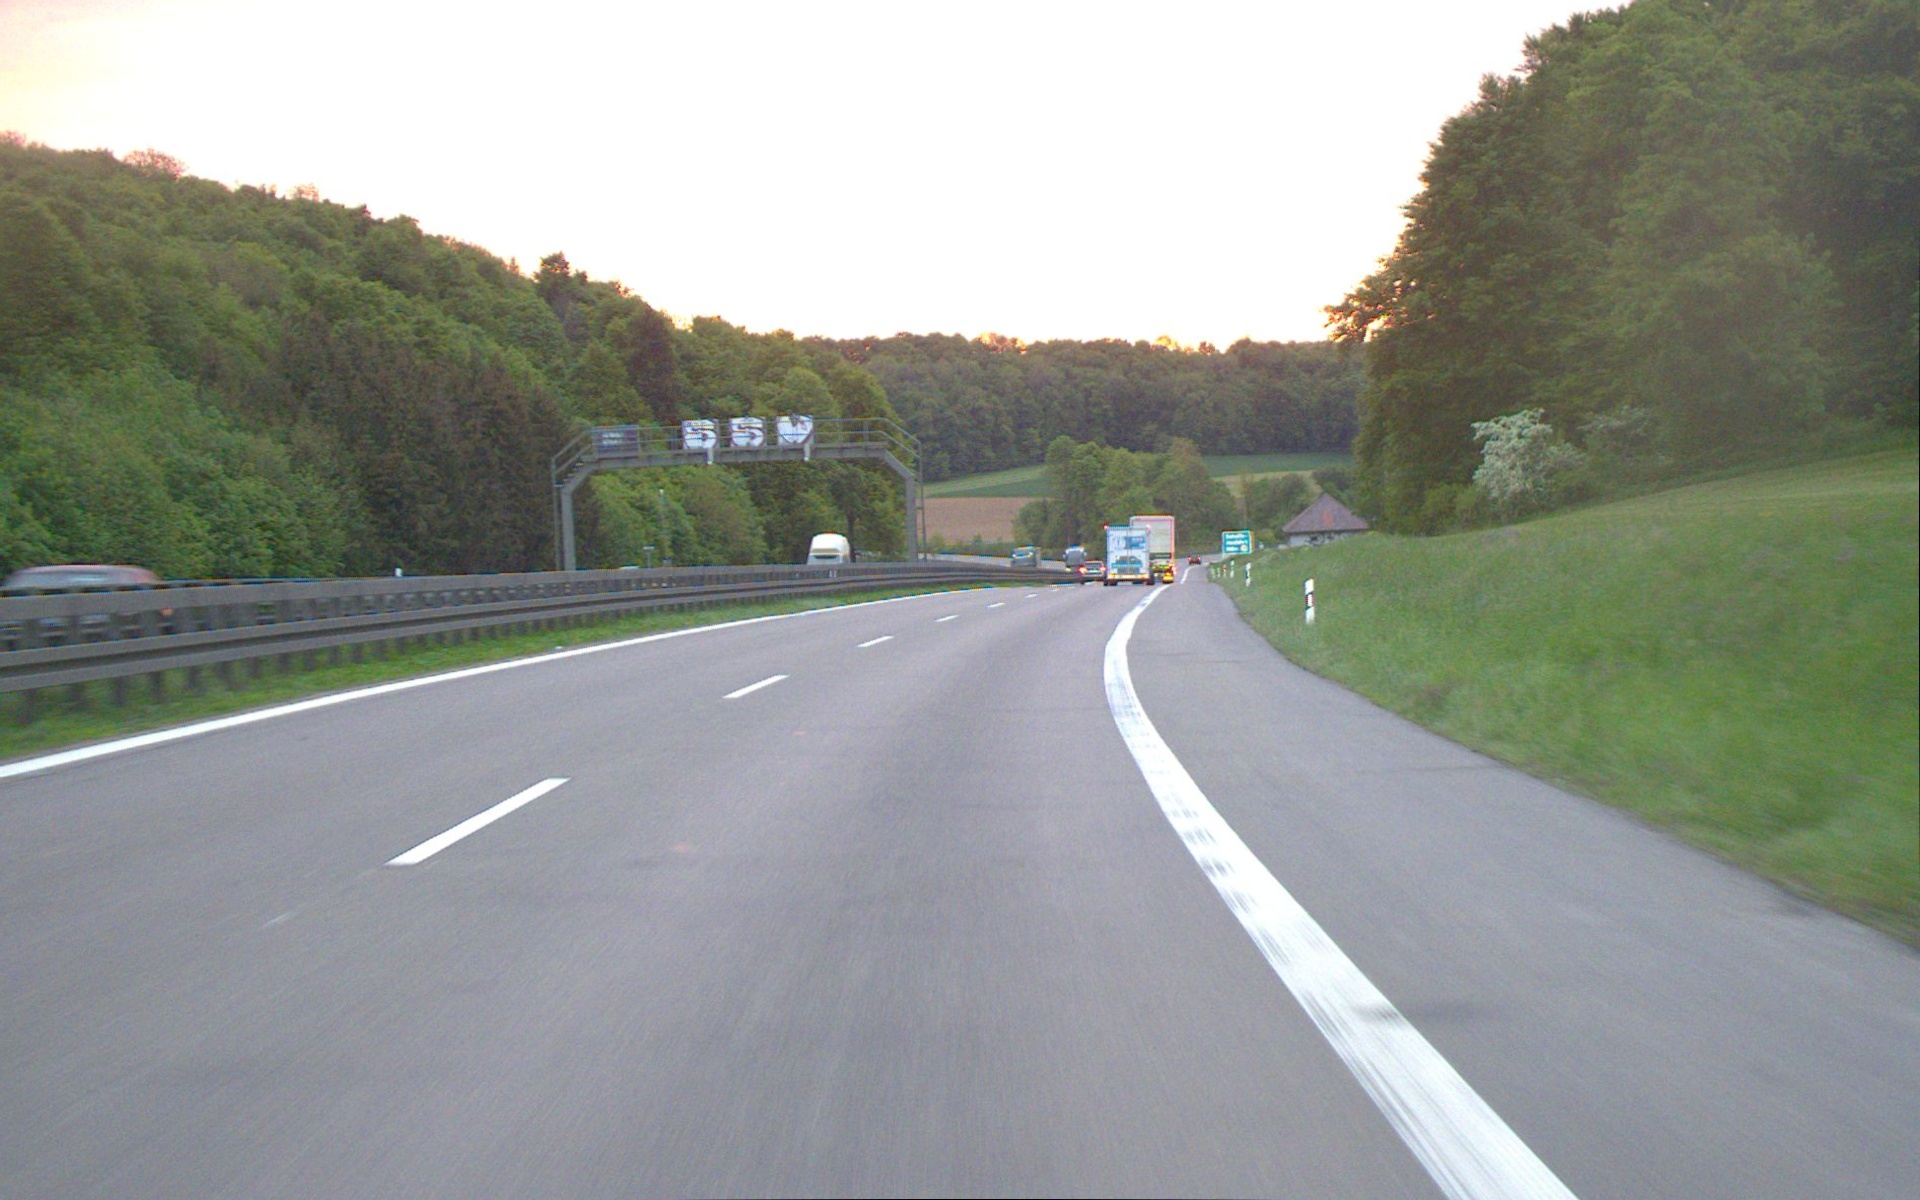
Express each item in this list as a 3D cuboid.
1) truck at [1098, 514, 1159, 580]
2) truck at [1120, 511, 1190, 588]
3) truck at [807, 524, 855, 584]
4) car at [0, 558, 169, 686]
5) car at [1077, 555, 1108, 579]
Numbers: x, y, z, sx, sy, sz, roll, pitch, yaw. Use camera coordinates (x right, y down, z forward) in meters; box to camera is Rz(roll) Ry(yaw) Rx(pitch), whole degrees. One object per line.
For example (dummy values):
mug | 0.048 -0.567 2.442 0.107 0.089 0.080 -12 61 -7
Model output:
truck | 7.588 -2.401 154.352 2.276 2.655 5.235 -2 3 7
truck | 11.749 -3.115 206.705 3.958 4.272 14.323 -1 2 4
truck | -6.693 -2.417 178.536 1.994 3.057 5.594 -1 1 3
car | -11.805 0.267 45.073 1.654 1.529 4.466 -2 1 2
car | 8.717 -2.171 226.000 1.994 1.512 4.000 -1 1 3
